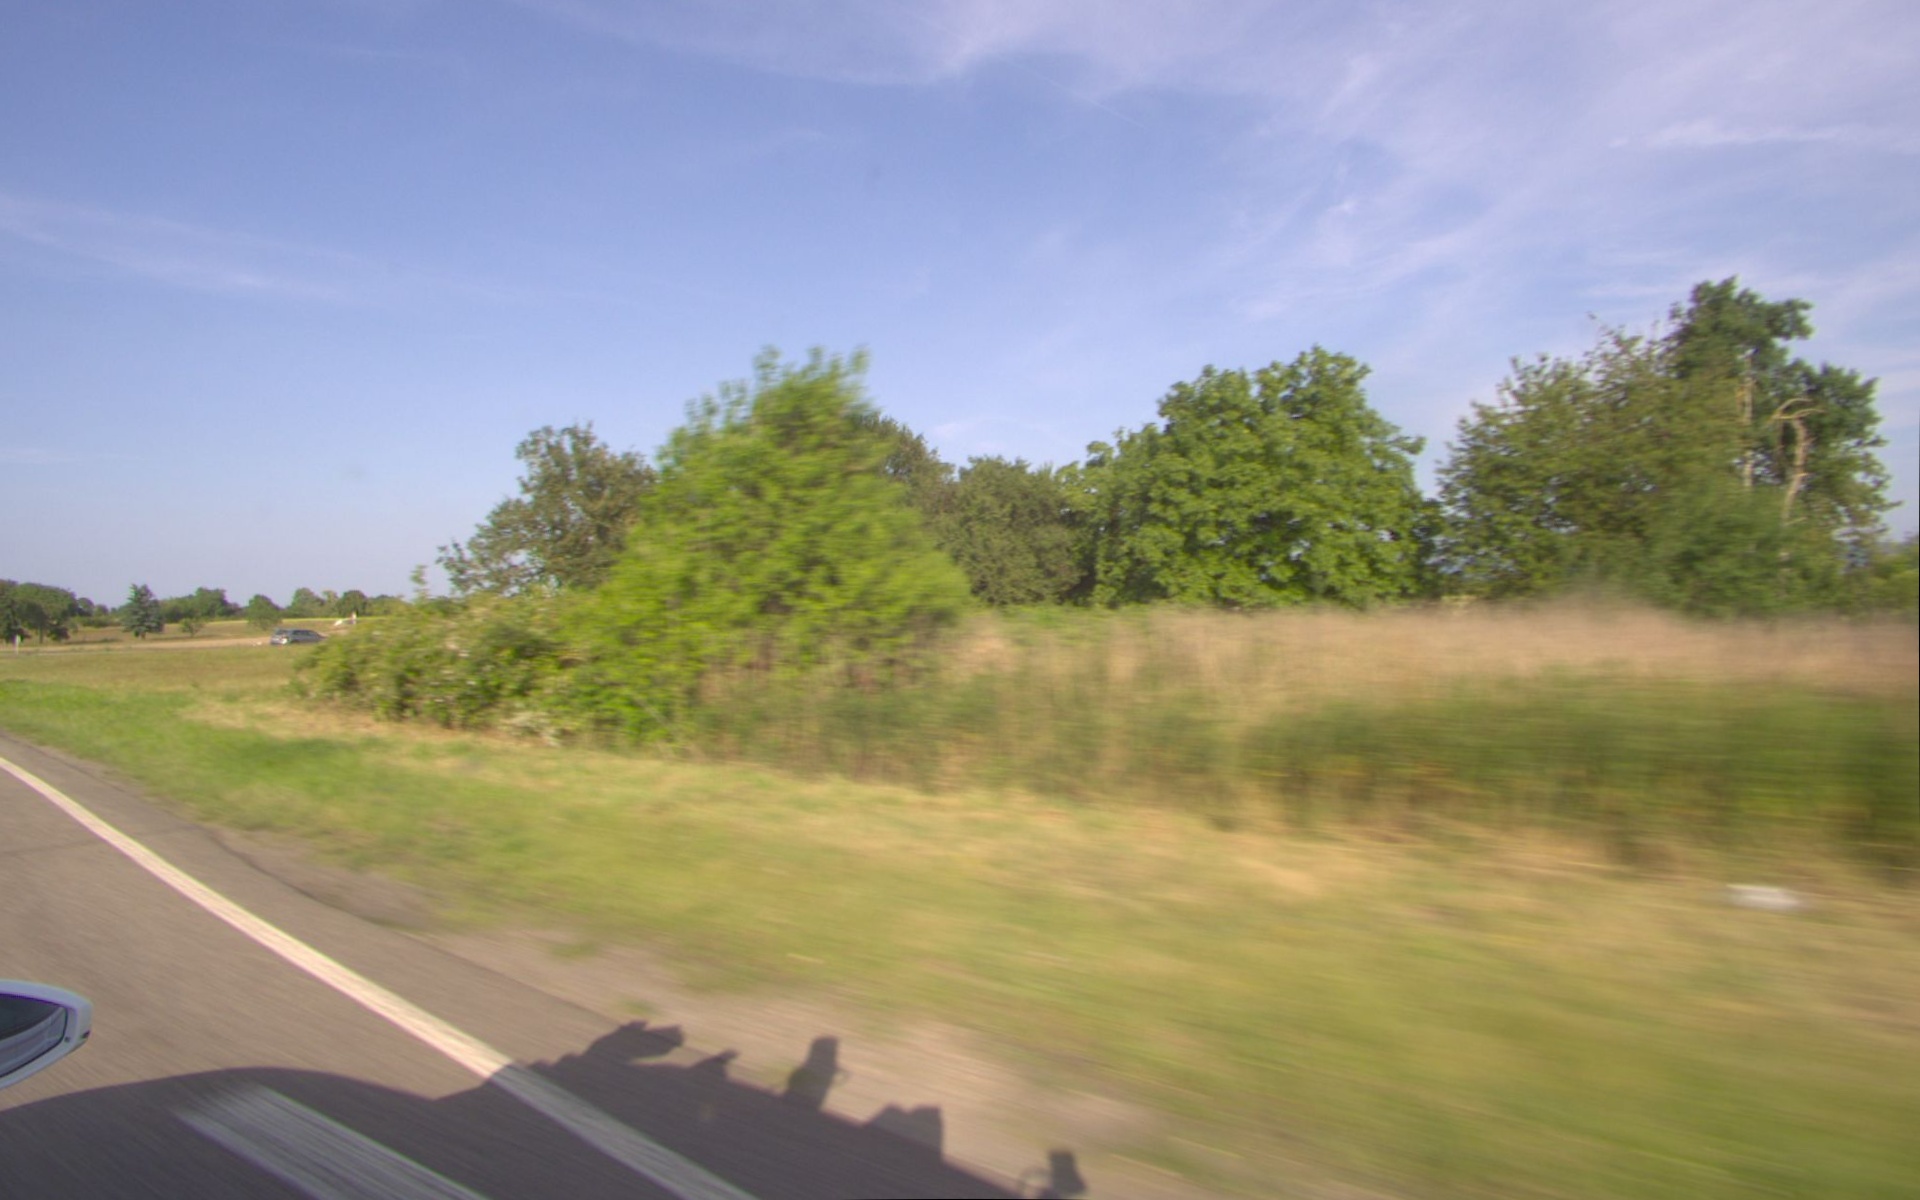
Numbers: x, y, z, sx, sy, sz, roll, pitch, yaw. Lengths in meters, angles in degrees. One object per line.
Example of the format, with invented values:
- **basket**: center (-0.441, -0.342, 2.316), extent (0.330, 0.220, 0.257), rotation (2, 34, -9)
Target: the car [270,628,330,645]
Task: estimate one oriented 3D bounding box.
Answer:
- **car**: center (-51.364, 2.855, 77.951), extent (1.537, 1.235, 3.629), rotation (-1, -1, 24)
